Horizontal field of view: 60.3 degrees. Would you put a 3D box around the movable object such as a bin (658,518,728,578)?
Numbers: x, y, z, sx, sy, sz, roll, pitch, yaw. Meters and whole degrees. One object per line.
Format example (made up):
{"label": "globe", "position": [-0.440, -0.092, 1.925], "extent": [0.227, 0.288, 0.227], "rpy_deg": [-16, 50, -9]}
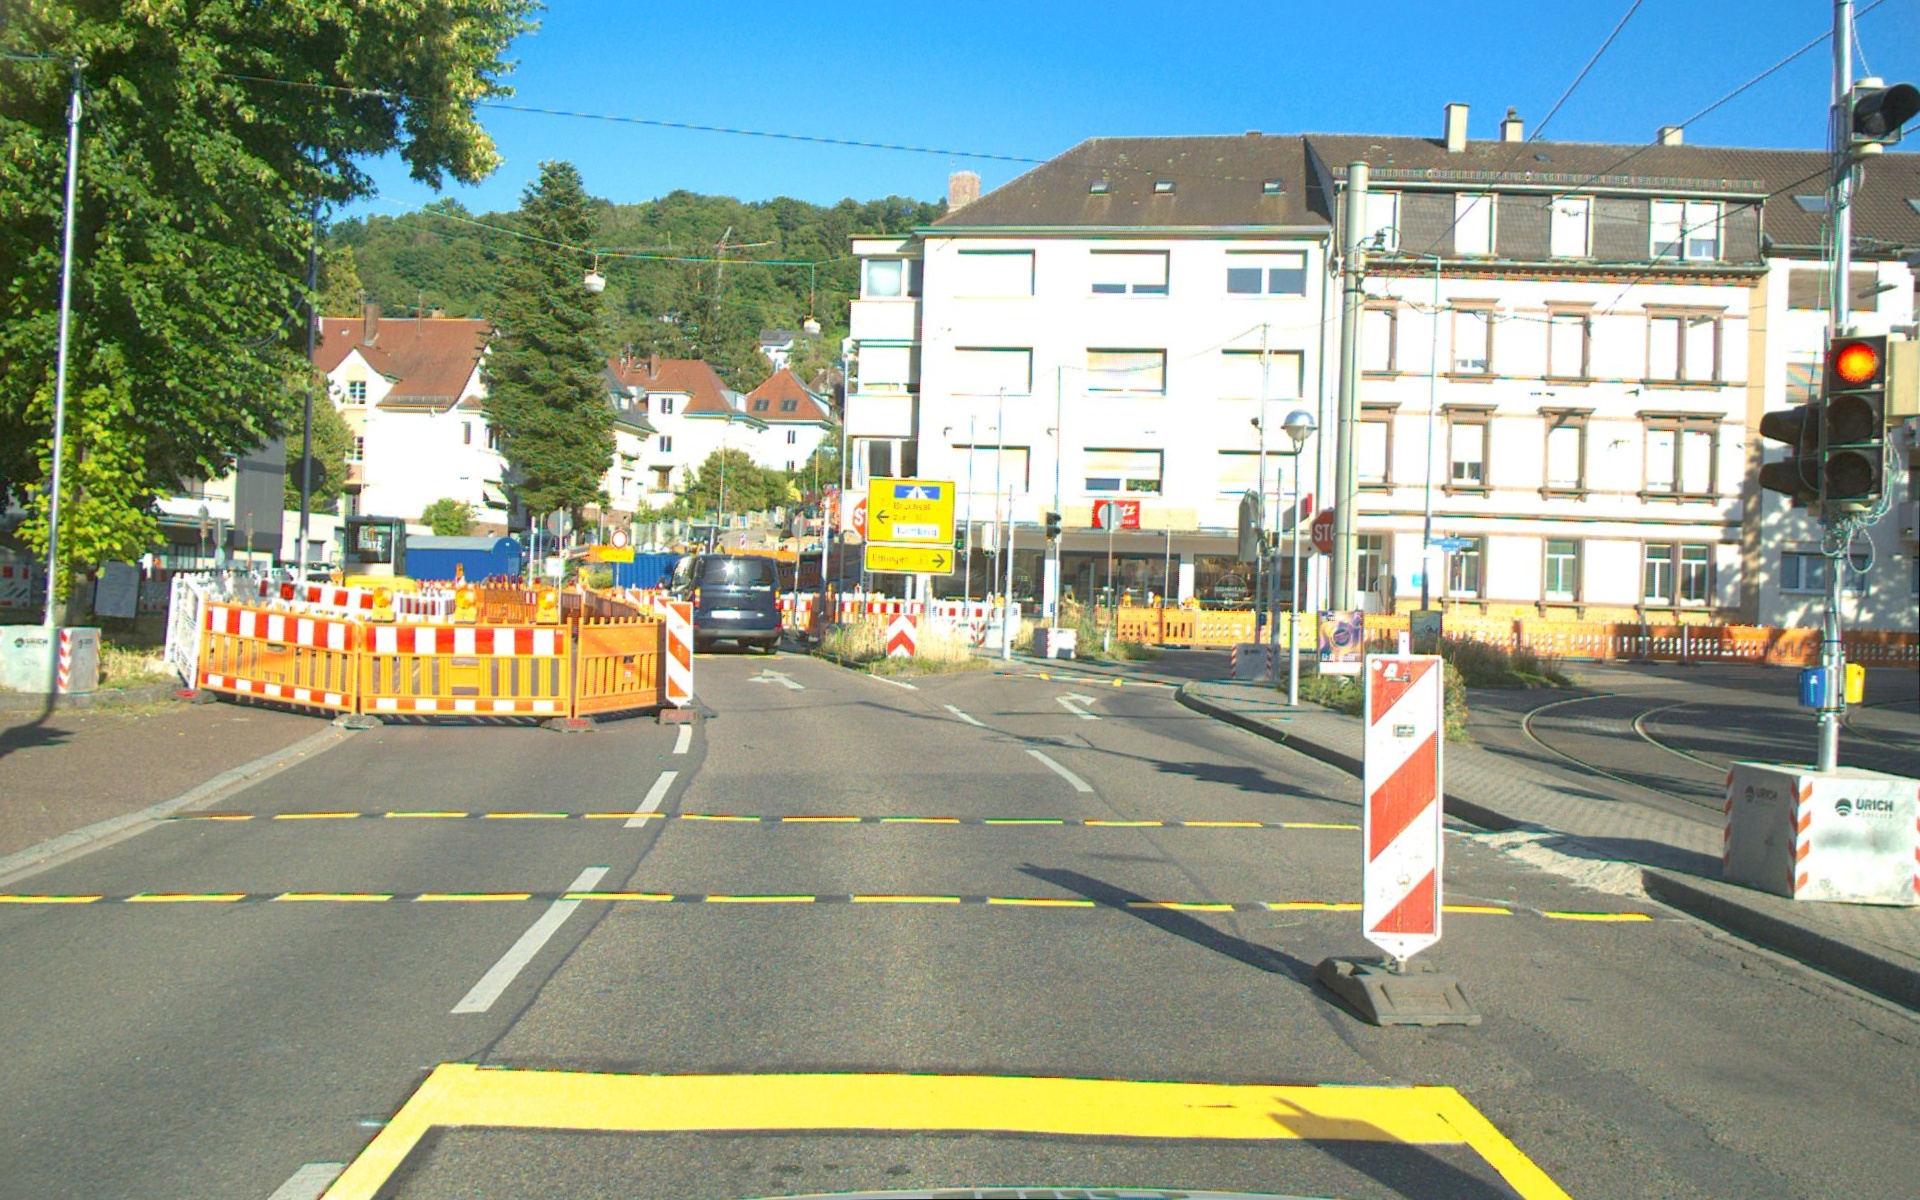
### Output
{"label": "movable object such as a bin", "position": [-12.981, -2.499, 80.741], "extent": [2.144, 2.737, 4.003], "rpy_deg": [2, 0, 9]}

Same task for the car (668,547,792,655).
{"label": "car", "position": [-4.945, -0.042, 35.008], "extent": [2.027, 2.048, 4.983], "rpy_deg": [2, 1, -14]}

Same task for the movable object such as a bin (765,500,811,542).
{"label": "movable object such as a bin", "position": [-11.945, -5.476, 115.357], "extent": [2.144, 2.737, 4.003], "rpy_deg": [2, 0, 9]}

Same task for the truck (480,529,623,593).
{"label": "truck", "position": [-17.134, -1.562, 70.112], "extent": [2.306, 2.458, 9.159], "rpy_deg": [2, 0, 10]}

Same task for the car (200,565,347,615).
{"label": "car", "position": [-20.897, -0.303, 50.373], "extent": [3.904, 1.434, 1.801], "rpy_deg": [1, 0, 19]}
